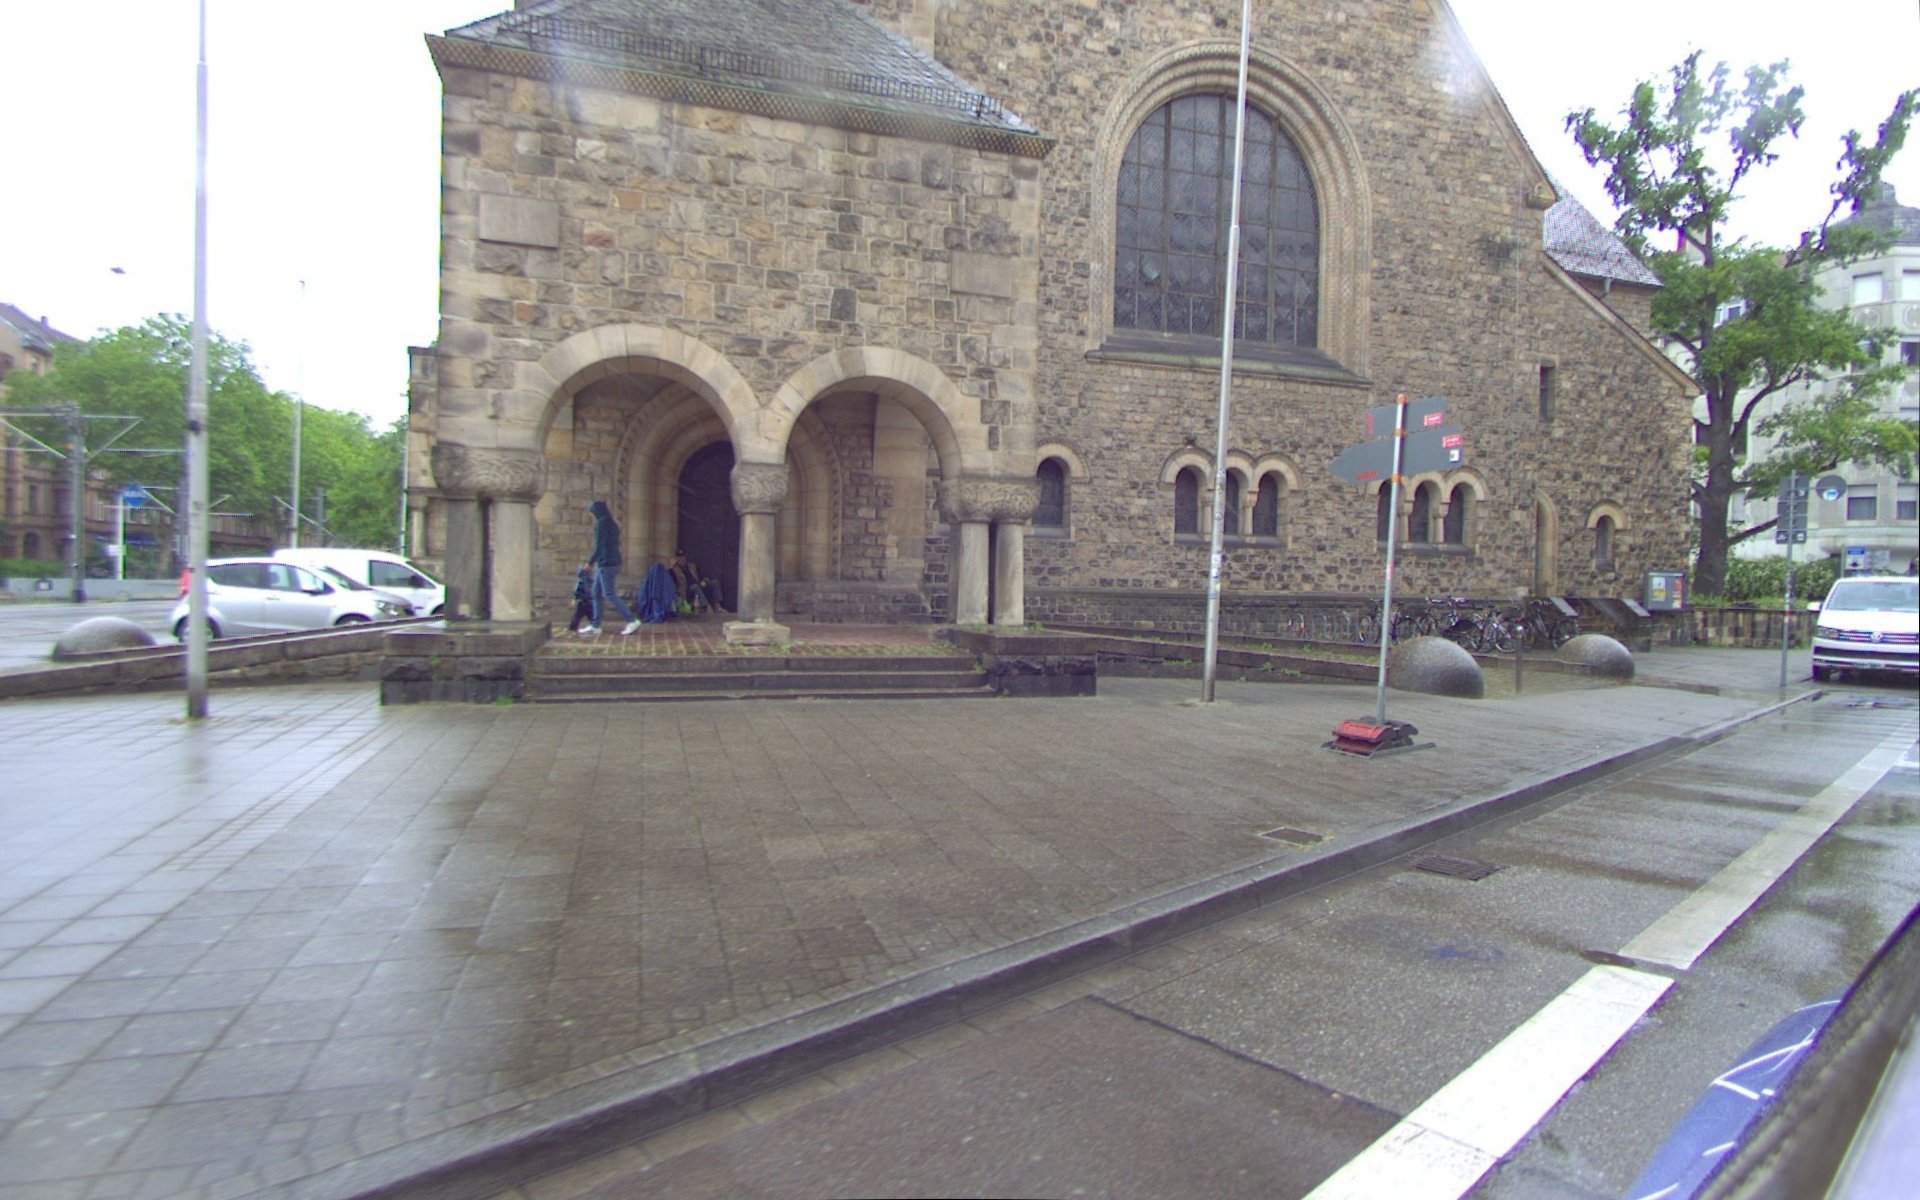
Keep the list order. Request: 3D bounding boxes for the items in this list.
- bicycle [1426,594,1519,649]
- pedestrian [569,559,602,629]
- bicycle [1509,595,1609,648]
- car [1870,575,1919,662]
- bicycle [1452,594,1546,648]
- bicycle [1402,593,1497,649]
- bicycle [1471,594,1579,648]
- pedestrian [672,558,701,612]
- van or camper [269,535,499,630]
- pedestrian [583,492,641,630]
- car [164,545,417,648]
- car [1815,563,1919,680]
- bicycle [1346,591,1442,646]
[{"bbox_3d":[11.110,0.449,22.016,0.569,1.073,1.933,1,2,-19],"label":"bicycle"},{"bbox_3d":[-4.943,-0.082,13.351,0.388,0.895,0.457,1,1,-21],"label":"pedestrian"},{"bbox_3d":[13.380,0.463,22.686,0.593,1.080,1.987,1,2,-19],"label":"bicycle"},{"bbox_3d":[22.573,0.422,23.365,4.221,1.869,1.836,0,2,-42],"label":"car"},{"bbox_3d":[11.839,0.448,22.307,0.569,1.073,1.933,1,2,-19],"label":"bicycle"},{"bbox_3d":[10.490,0.429,21.754,0.569,1.073,1.932,1,2,-22],"label":"bicycle"},{"bbox_3d":[12.541,0.452,22.557,0.663,1.073,2.161,1,2,-19],"label":"bicycle"},{"bbox_3d":[-4.665,-0.260,17.268,0.447,0.895,0.397,1,1,-19],"label":"pedestrian"},{"bbox_3d":[-11.907,-0.410,21.187,3.848,1.749,1.653,-3,2,-18],"label":"van or camper"},{"bbox_3d":[-4.490,-0.488,13.043,0.664,1.724,0.635,1,1,-21],"label":"pedestrian"},{"bbox_3d":[-11.638,-0.099,17.835,3.288,1.593,1.740,-3,2,-15],"label":"car"},{"bbox_3d":[17.825,0.359,19.029,5.181,1.946,1.907,0,2,-42],"label":"car"},{"bbox_3d":[9.211,0.376,21.567,0.565,1.062,2.013,1,2,-24],"label":"bicycle"}]
